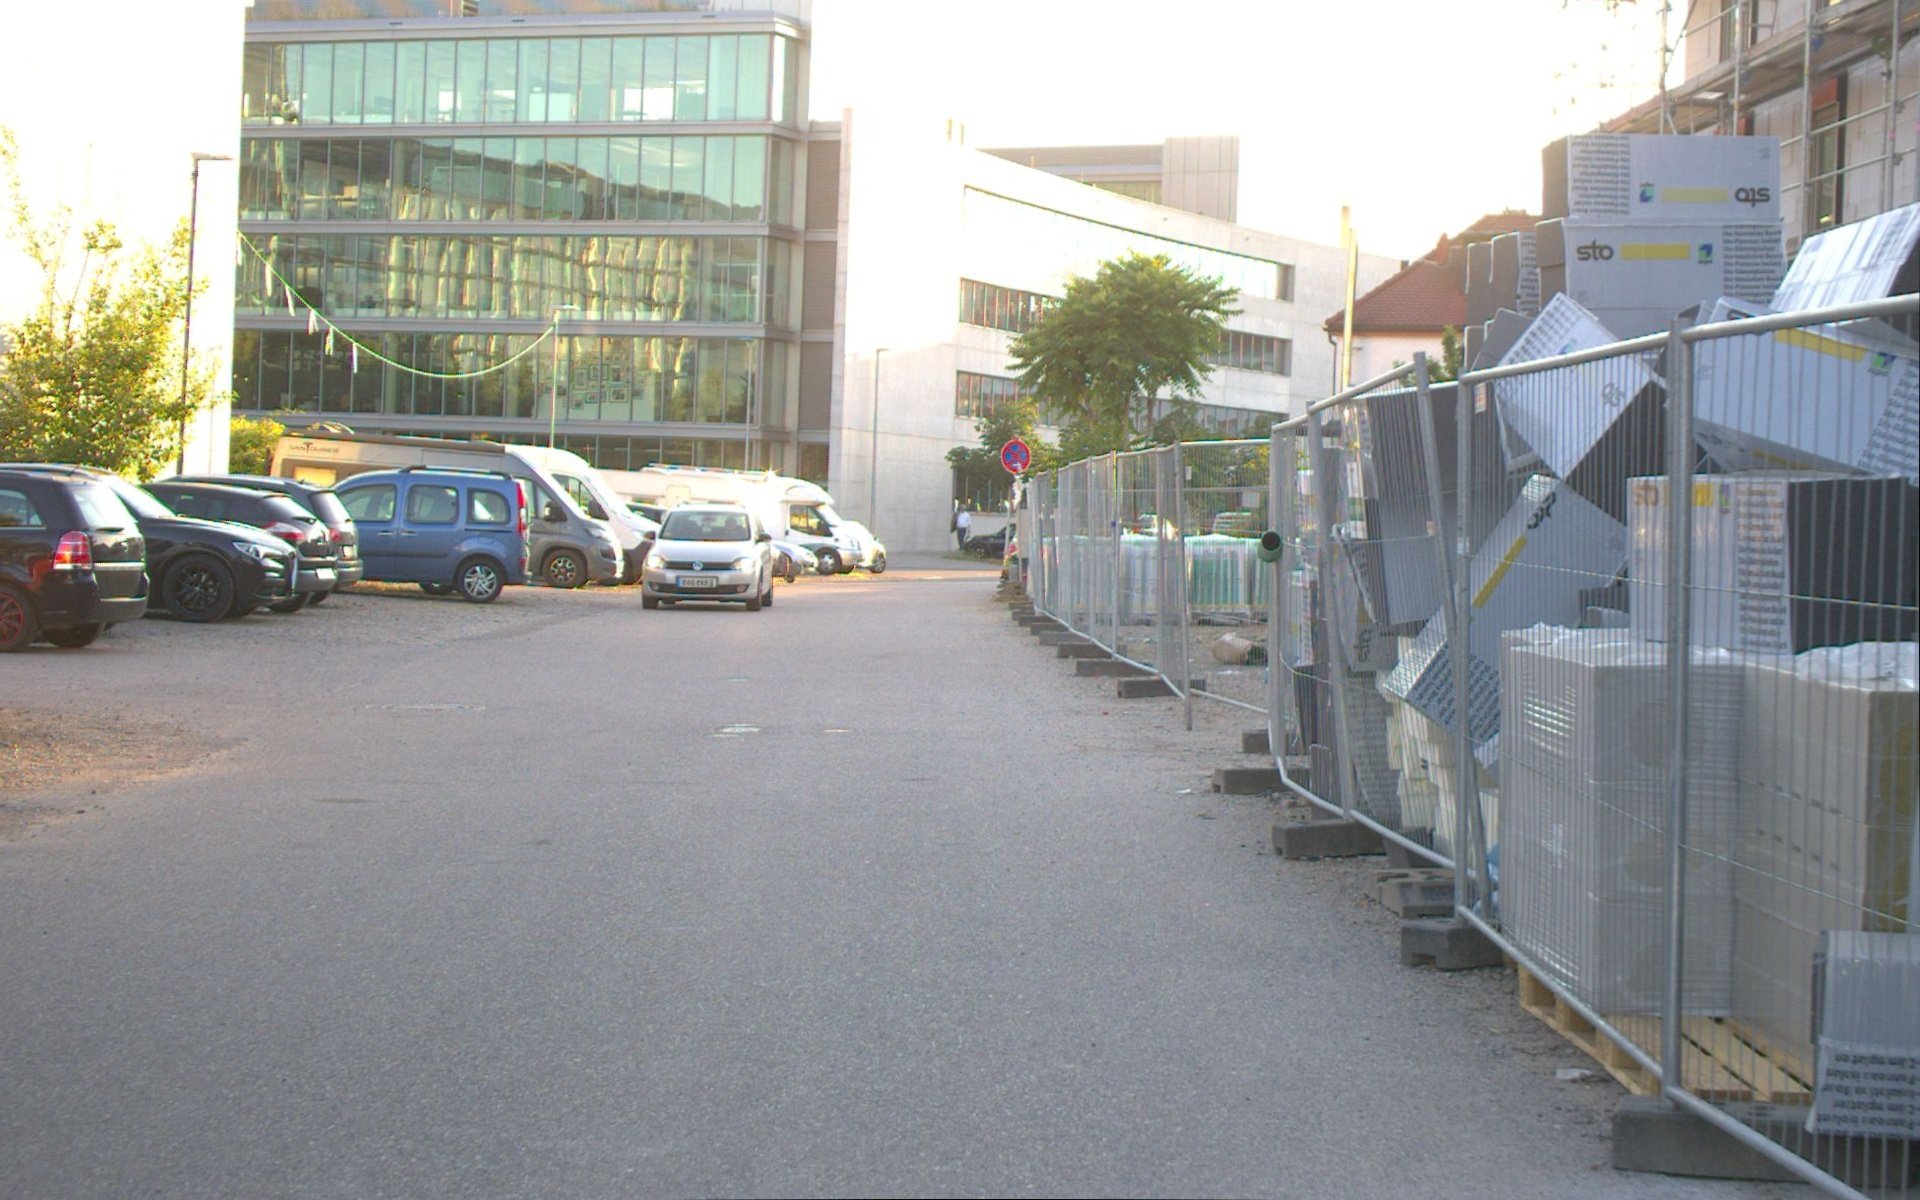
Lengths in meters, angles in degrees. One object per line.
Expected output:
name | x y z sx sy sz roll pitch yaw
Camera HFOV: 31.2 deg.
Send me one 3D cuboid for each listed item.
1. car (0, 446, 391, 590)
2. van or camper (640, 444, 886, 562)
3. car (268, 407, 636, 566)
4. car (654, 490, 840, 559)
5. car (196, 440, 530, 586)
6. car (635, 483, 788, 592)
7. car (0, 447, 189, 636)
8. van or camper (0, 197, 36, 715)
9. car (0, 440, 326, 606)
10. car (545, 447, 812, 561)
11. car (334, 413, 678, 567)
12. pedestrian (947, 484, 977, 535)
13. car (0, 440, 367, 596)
car | -9.715 -1.045 43.570 4.505 1.642 1.999 2 2 8
van or camper | -5.454 -2.689 95.525 6.336 2.968 2.291 3 1 11
car | -9.183 -2.061 62.520 6.328 2.642 2.000 2 2 -1
car | -5.543 -1.971 89.862 4.505 1.642 1.999 2 2 8
car | -8.375 -1.231 48.580 4.503 1.862 2.001 2 2 -7
car | -3.700 -0.962 51.717 1.665 1.523 3.910 2 2 5
car | -9.635 -0.608 31.636 4.505 1.642 1.999 2 2 8
van or camper | -10.025 -0.958 19.556 8.765 3.038 2.595 2 2 1
car | -9.382 -0.868 37.244 4.505 1.642 1.999 2 2 8
car | -6.675 -2.290 81.719 5.926 2.481 1.999 2 2 10
car | -8.725 -2.117 66.430 6.328 2.731 2.000 2 2 -1
pedestrian | 0.064 -3.271 124.665 0.764 1.810 0.844 2 2 22
car | -9.436 -0.978 40.186 4.505 1.642 1.999 2 2 8
